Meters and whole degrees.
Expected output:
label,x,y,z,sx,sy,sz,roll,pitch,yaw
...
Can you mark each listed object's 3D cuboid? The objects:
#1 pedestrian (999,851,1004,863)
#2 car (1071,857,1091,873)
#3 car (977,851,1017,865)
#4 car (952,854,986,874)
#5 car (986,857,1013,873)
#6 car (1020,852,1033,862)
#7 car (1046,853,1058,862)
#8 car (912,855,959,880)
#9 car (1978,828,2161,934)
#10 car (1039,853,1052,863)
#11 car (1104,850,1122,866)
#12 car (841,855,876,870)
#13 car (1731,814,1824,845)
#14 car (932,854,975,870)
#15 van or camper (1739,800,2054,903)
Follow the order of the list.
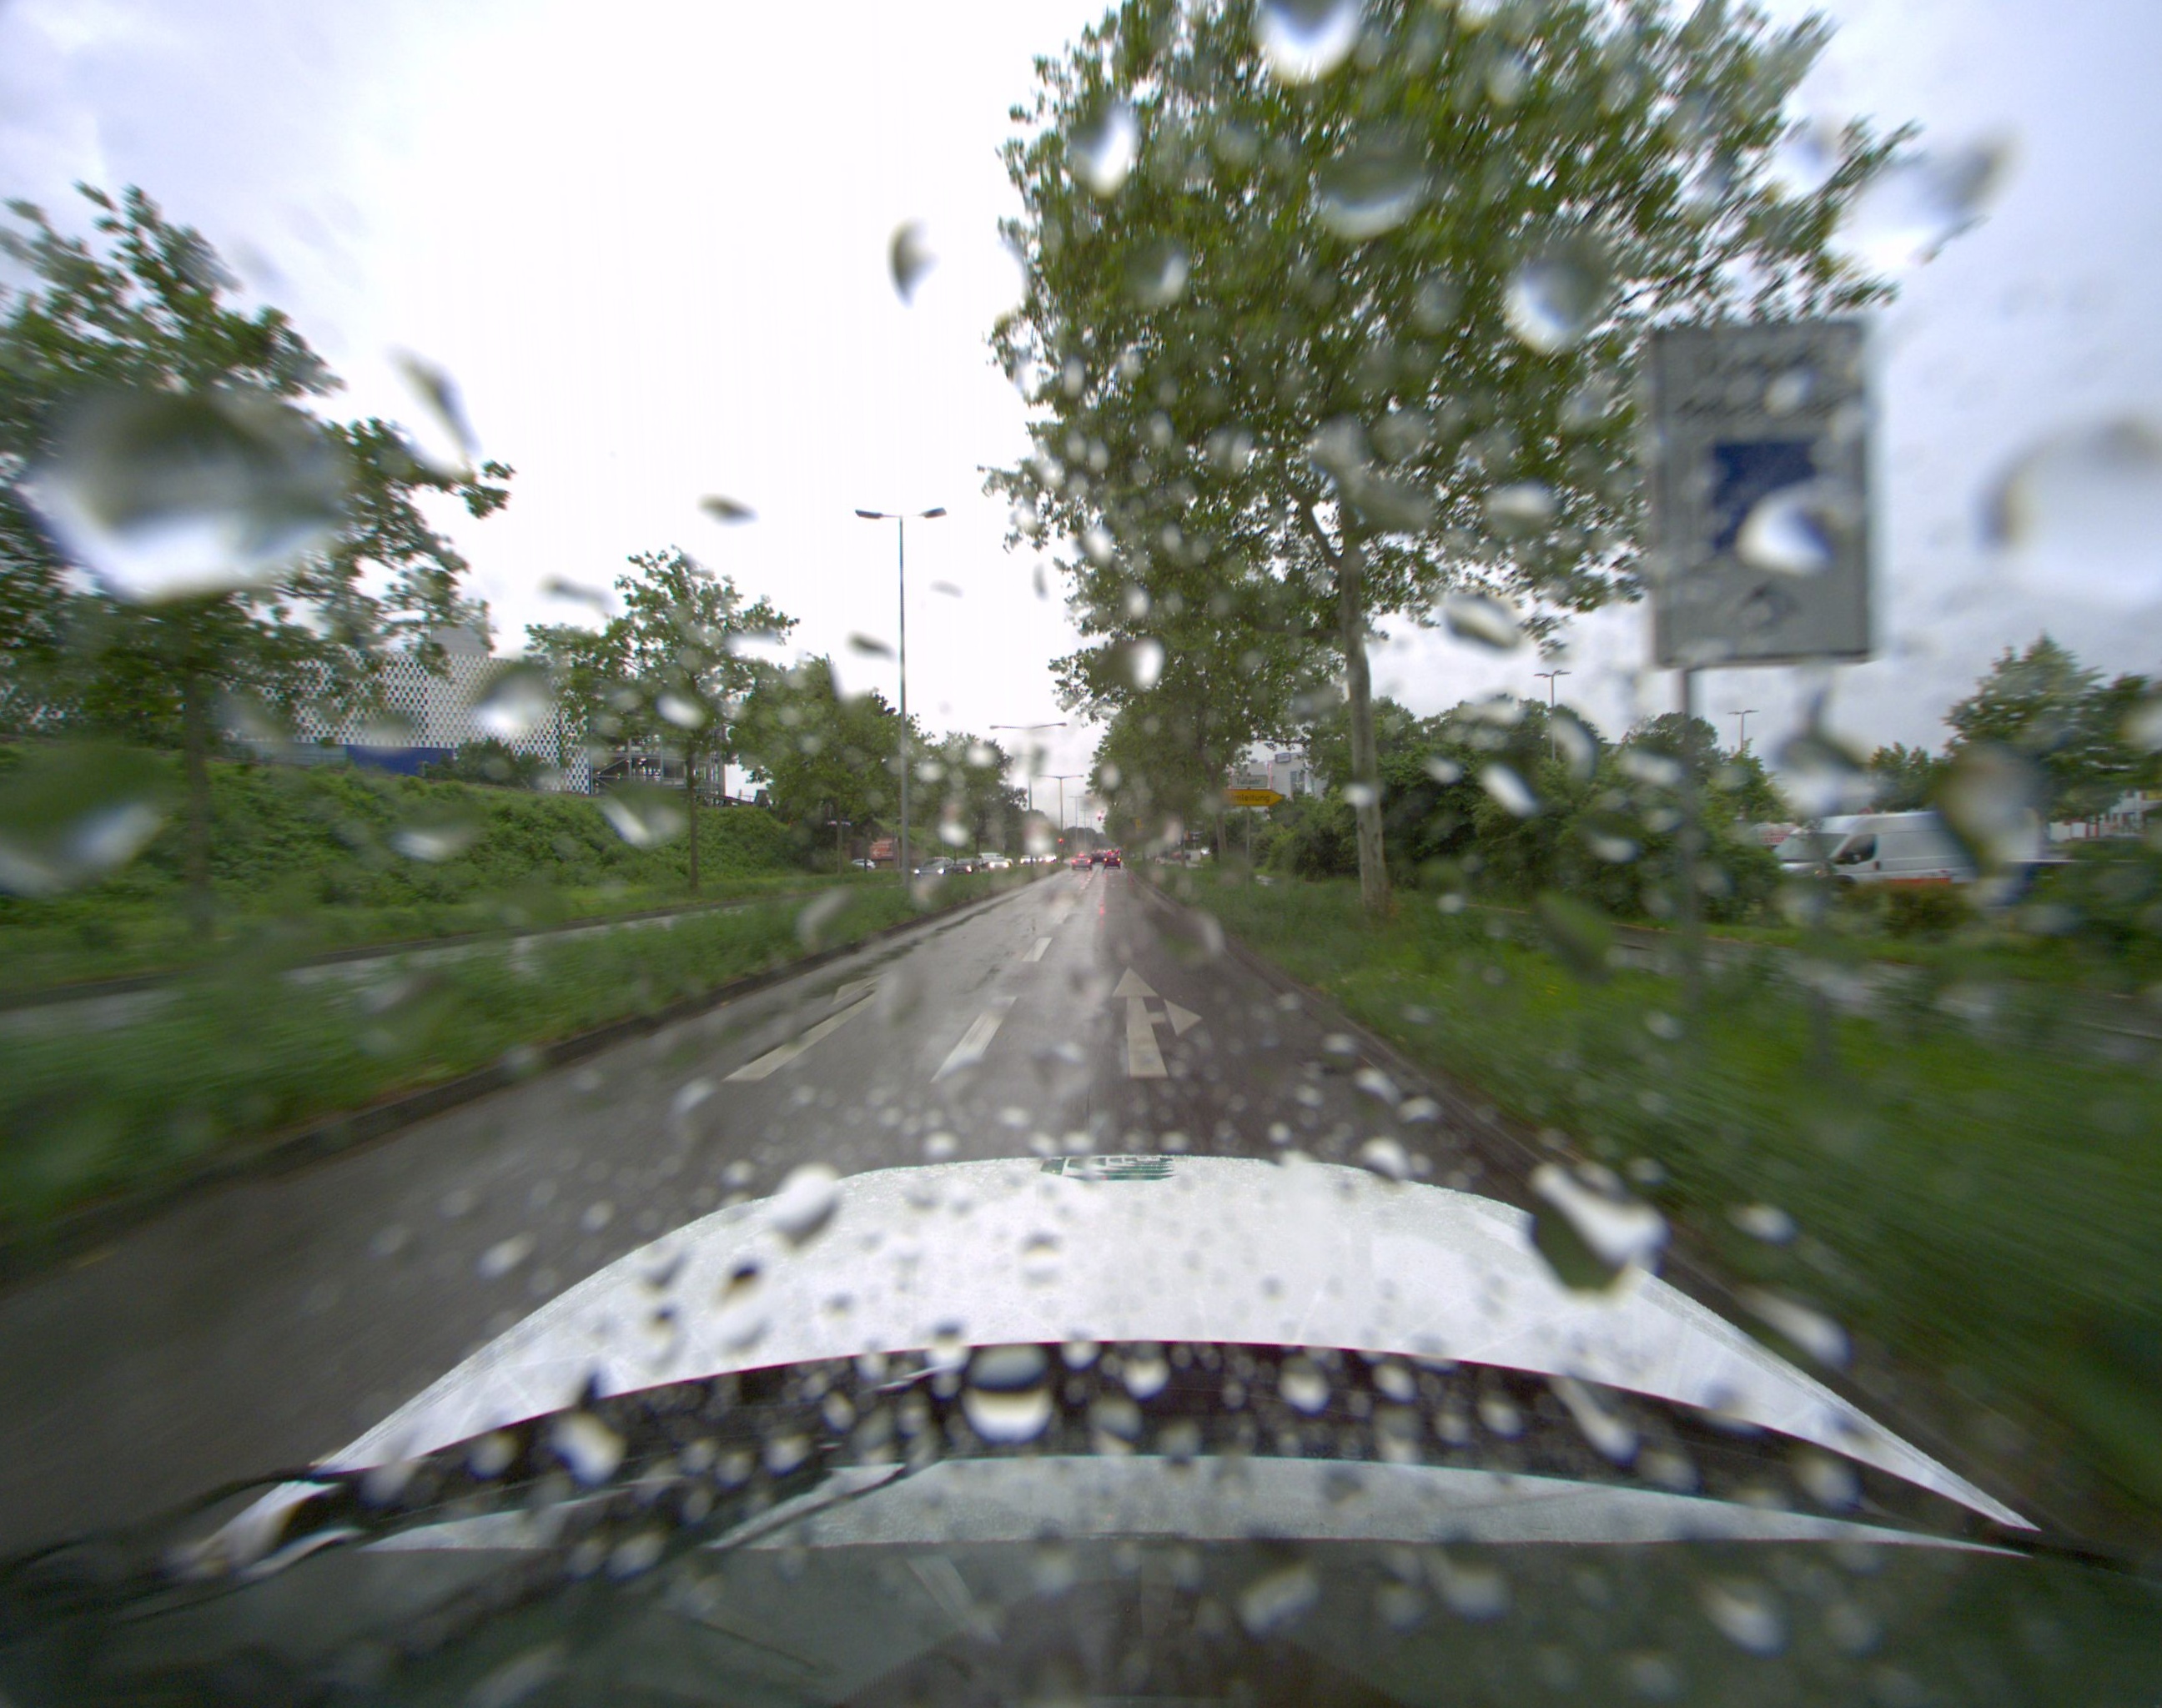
label,x,y,z,sx,sy,sz,roll,pitch,yaw
pedestrian,-12.062,0.438,123.366,0.528,1.786,0.676,0,-1,19
car,0.024,0.983,76.871,1.683,1.433,4.576,-1,0,2
car,-10.149,0.462,98.701,4.397,1.537,1.786,-1,0,-27
car,-8.457,0.761,61.704,1.924,1.445,3.709,-1,0,2
car,-7.797,1.042,78.280,1.923,1.445,4.659,-1,0,2
car,-8.897,0.512,132.439,1.706,1.530,4.002,-1,0,2
car,-5.002,0.594,140.871,1.706,1.530,4.002,-1,0,2
car,-8.776,0.788,49.584,1.923,1.445,4.498,-1,0,2
car,19.017,0.437,14.525,3.974,1.754,1.881,0,0,0
car,-5.791,0.609,133.563,1.706,1.530,4.002,-1,0,2
car,3.319,0.403,85.191,1.789,1.537,4.389,0,0,2
car,-27.272,1.018,99.967,4.000,1.846,1.987,0,-1,-20
car,57.930,-1.965,67.862,2.008,2.335,5.609,1,-1,-36
car,-13.924,0.909,89.428,4.497,1.589,1.859,-2,0,-6
van or camper,21.292,-0.057,21.443,6.343,2.544,1.999,-1,-1,-1
